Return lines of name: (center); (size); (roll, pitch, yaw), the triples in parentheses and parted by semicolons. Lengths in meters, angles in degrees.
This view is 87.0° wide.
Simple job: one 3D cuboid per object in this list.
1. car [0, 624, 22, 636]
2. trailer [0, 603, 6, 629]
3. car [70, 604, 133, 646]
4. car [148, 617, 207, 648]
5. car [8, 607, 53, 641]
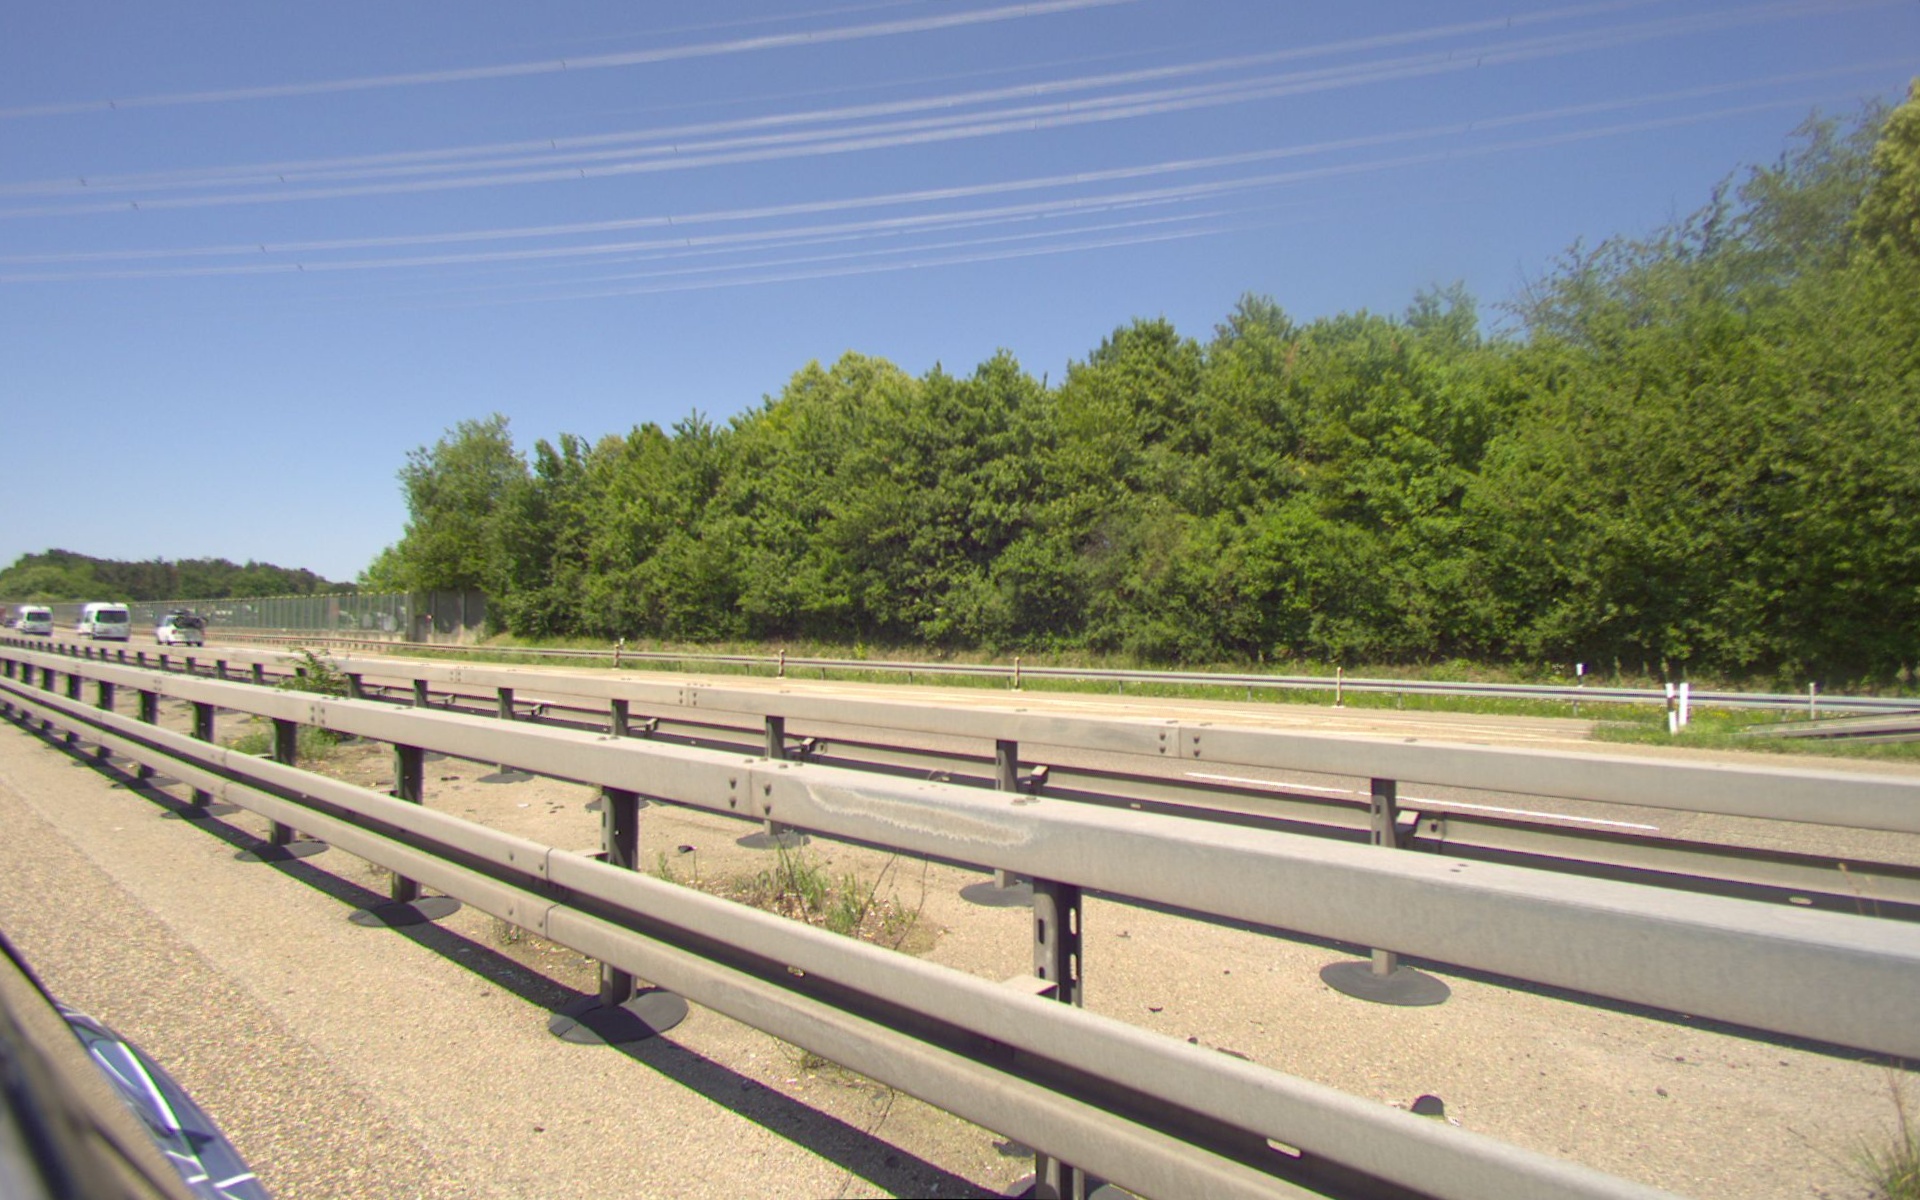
car: (-134.393, 4.256, 143.165); (5.274, 1.588, 1.972); (0, 0, 43)
trailer: (-160.055, 2.665, 166.670); (14.674, 4.007, 2.734); (-2, -4, 41)
car: (-55.334, 1.599, 65.165); (5.887, 2.613, 2.133); (0, -2, 41)
car: (-51.711, 2.150, 66.850); (5.488, 1.919, 1.846); (0, -3, 40)
car: (-79.446, 2.034, 86.474); (5.836, 2.671, 2.031); (0, -5, 41)
